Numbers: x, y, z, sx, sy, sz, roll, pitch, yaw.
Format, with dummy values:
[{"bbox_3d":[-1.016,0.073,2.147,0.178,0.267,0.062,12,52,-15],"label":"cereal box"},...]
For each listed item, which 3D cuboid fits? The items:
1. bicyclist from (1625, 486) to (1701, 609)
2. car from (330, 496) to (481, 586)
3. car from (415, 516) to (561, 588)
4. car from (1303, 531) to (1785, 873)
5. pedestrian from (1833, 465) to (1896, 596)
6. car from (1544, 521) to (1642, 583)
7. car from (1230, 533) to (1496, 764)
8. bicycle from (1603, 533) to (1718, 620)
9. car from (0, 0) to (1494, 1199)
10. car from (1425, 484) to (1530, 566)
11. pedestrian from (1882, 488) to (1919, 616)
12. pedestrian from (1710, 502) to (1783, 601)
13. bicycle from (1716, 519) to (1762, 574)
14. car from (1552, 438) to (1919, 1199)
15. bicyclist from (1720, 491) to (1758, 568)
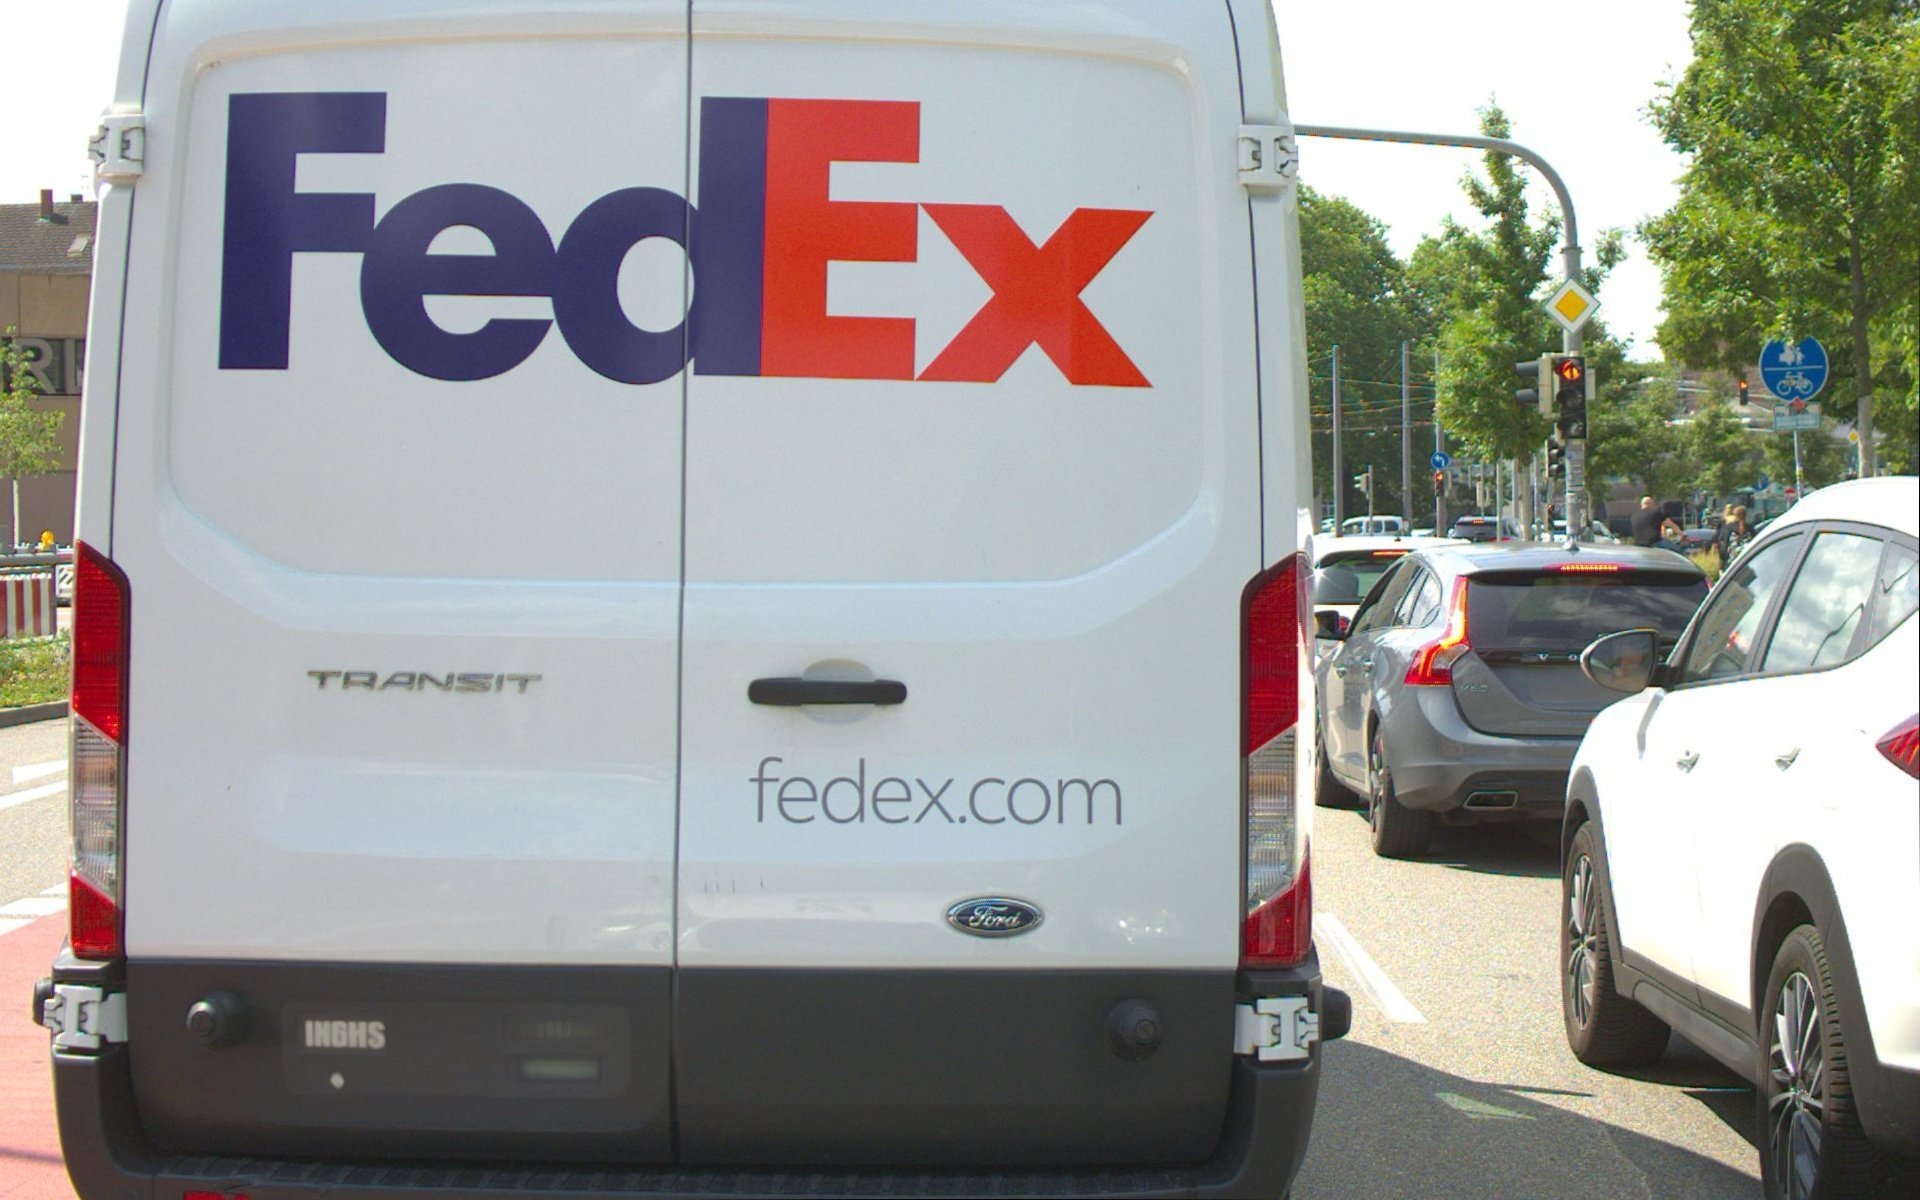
[{"bbox_3d":[10.722,-0.810,52.419,1.119,1.838,0.593,-2,2,-43],"label":"bicyclist"},{"bbox_3d":[-12.666,-1.344,78.803,1.995,2.007,3.998,0,1,14],"label":"car"},{"bbox_3d":[-10.597,-1.080,77.400,1.902,1.579,3.998,0,1,14],"label":"car"},{"bbox_3d":[2.728,0.406,16.857,1.798,1.456,3.838,0,1,1],"label":"car"},{"bbox_3d":[14.204,-1.093,54.005,0.845,2.051,0.741,0,1,4],"label":"pedestrian"},{"bbox_3d":[19.008,-1.446,103.084,1.996,1.787,4.366,0,1,23],"label":"car"},{"bbox_3d":[2.678,0.273,23.423,1.484,1.423,3.433,0,1,1],"label":"car"},{"bbox_3d":[10.680,-0.367,52.361,2.065,1.285,0.604,-2,2,-42],"label":"bicycle"},{"bbox_3d":[-0.461,0.019,7.577,2.140,2.643,5.705,0,1,-3],"label":"car"},{"bbox_3d":[13.260,-1.900,87.896,2.094,2.007,4.641,0,1,15],"label":"car"},{"bbox_3d":[15.090,-0.762,54.324,0.845,2.007,0.741,0,1,-1],"label":"pedestrian"},{"bbox_3d":[11.104,-0.692,48.562,0.845,1.384,0.741,0,1,-1],"label":"pedestrian"},{"bbox_3d":[14.886,-1.022,65.722,0.546,1.027,1.926,0,1,3],"label":"bicycle"},{"bbox_3d":[2.604,0.492,8.162,1.798,1.681,4.000,0,1,1],"label":"car"},{"bbox_3d":[14.890,-1.352,65.741,0.550,1.469,0.971,0,1,4],"label":"bicyclist"}]
